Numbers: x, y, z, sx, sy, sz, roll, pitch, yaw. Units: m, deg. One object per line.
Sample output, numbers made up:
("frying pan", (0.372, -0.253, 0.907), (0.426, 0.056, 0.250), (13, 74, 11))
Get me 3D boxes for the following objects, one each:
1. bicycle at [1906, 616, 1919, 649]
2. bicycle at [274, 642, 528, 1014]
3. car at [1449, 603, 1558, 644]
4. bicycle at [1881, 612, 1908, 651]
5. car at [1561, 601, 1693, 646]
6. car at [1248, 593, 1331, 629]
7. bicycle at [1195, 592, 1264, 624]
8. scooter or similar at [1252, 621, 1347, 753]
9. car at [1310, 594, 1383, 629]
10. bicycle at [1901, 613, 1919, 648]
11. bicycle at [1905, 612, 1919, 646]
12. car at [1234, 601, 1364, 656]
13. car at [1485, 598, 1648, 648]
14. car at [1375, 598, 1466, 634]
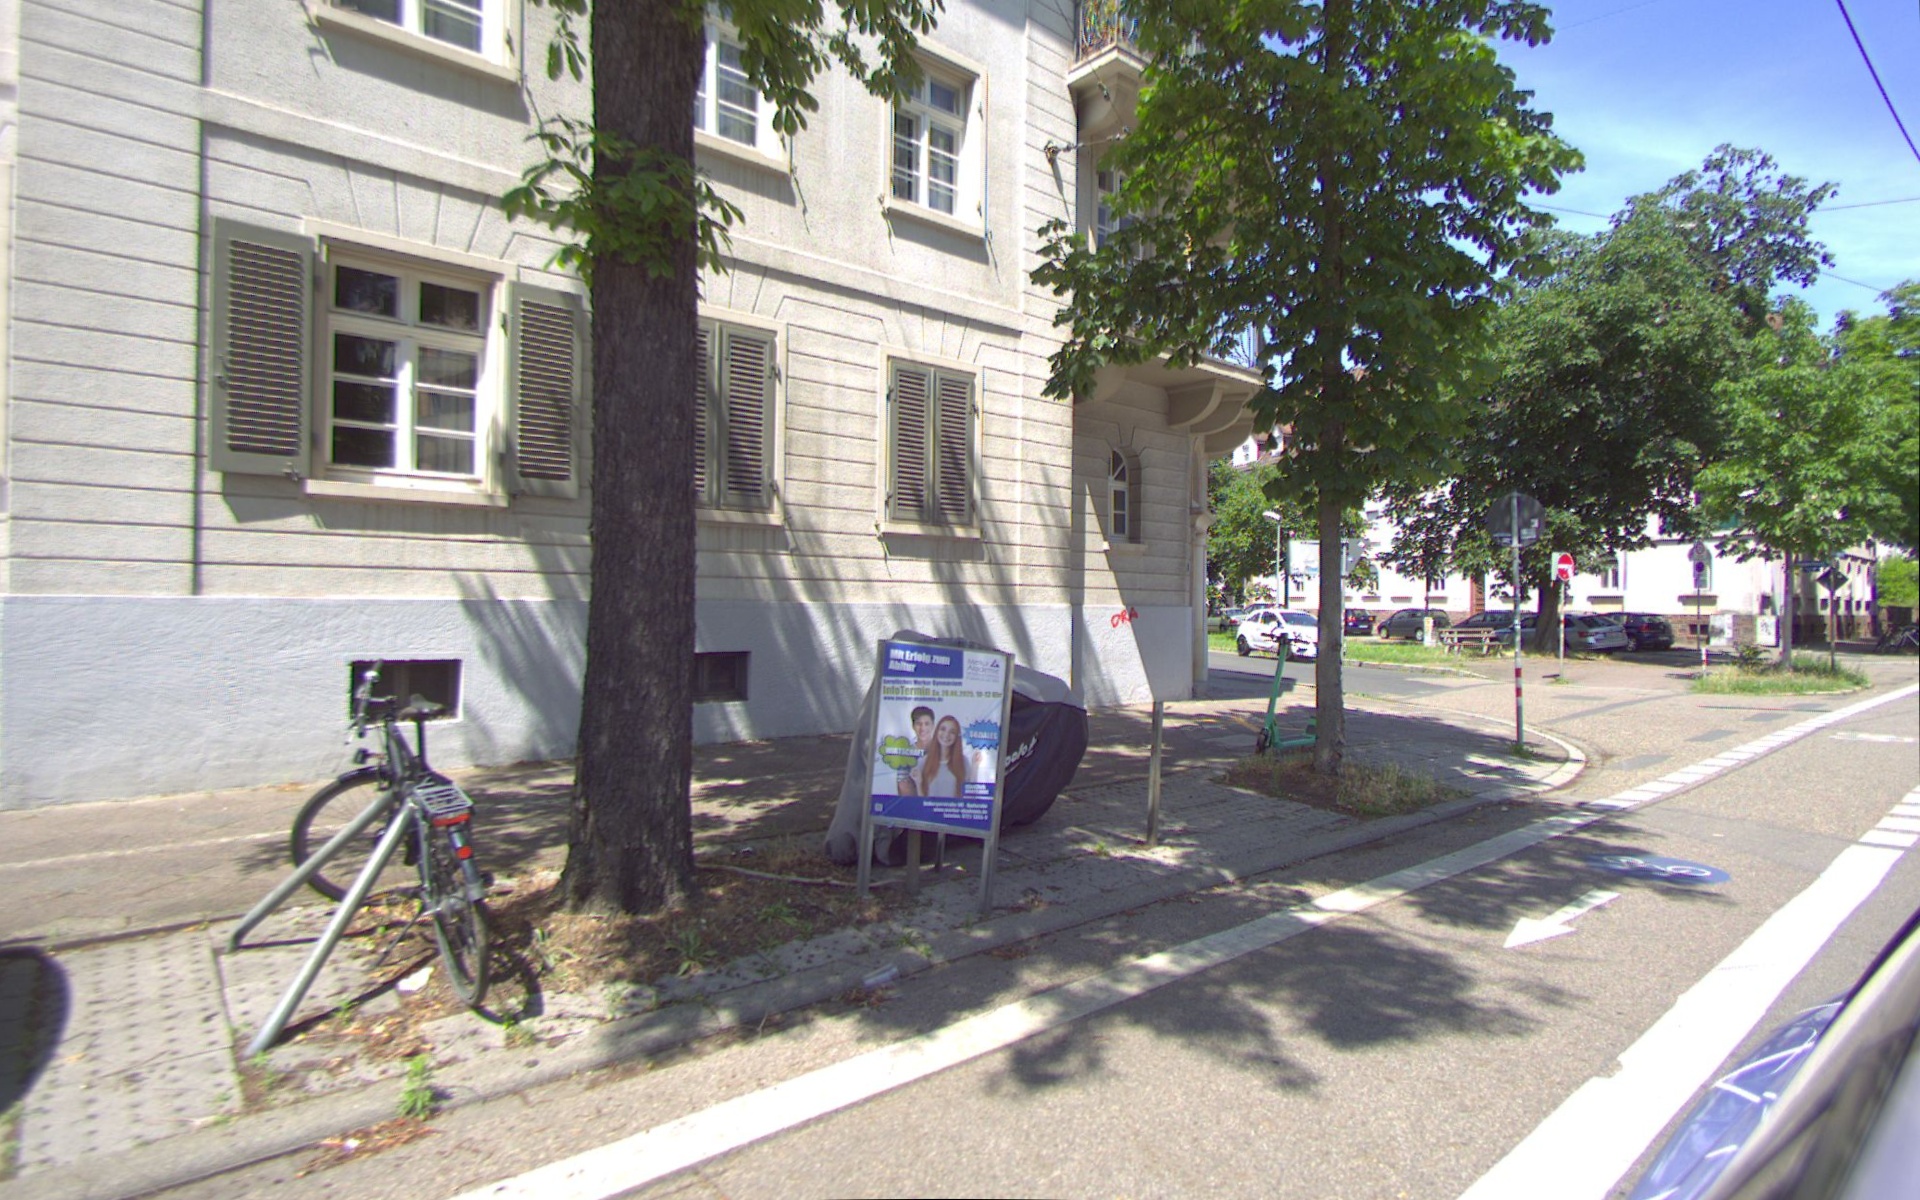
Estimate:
("bicycle", (31.554, 1.074, 32.868), (0.274, 1.077, 1.170), (0, 1, -37))
("bicycle", (-2.182, 0.735, 3.844), (1.697, 1.034, 0.359), (2, 1, 44))
("car", (22.880, 0.938, 42.763), (1.783, 1.521, 4.008), (-2, 1, -13))
("bicycle", (30.916, 1.027, 33.490), (0.281, 1.215, 1.611), (0, 0, 29))
("car", (24.339, 0.822, 37.102), (1.611, 1.465, 3.892), (-1, 1, -18))
("car", (15.829, 0.490, 48.831), (1.958, 1.602, 4.008), (0, 1, -14))
("bicycle", (14.511, 0.412, 54.778), (1.800, 1.666, 4.008), (0, 1, -16))
("scooter or similar", (3.285, 0.804, 9.759), (1.230, 1.176, 0.296), (0, 0, -42))
("car", (20.383, 0.584, 53.530), (1.618, 1.751, 4.008), (0, 1, -13))
("bicycle", (34.843, 1.106, 35.957), (0.436, 1.215, 2.043), (0, 0, -30))
("bicycle", (35.251, 1.061, 36.245), (0.436, 1.215, 2.043), (0, 0, -30))
("car", (9.636, 0.776, 29.108), (1.815, 1.438, 4.007), (0, 0, -10))
("car", (19.748, 0.743, 33.251), (1.837, 1.535, 4.684), (1, -1, -13))
("car", (21.788, 0.737, 48.037), (1.830, 1.599, 4.008), (0, 1, -13))
